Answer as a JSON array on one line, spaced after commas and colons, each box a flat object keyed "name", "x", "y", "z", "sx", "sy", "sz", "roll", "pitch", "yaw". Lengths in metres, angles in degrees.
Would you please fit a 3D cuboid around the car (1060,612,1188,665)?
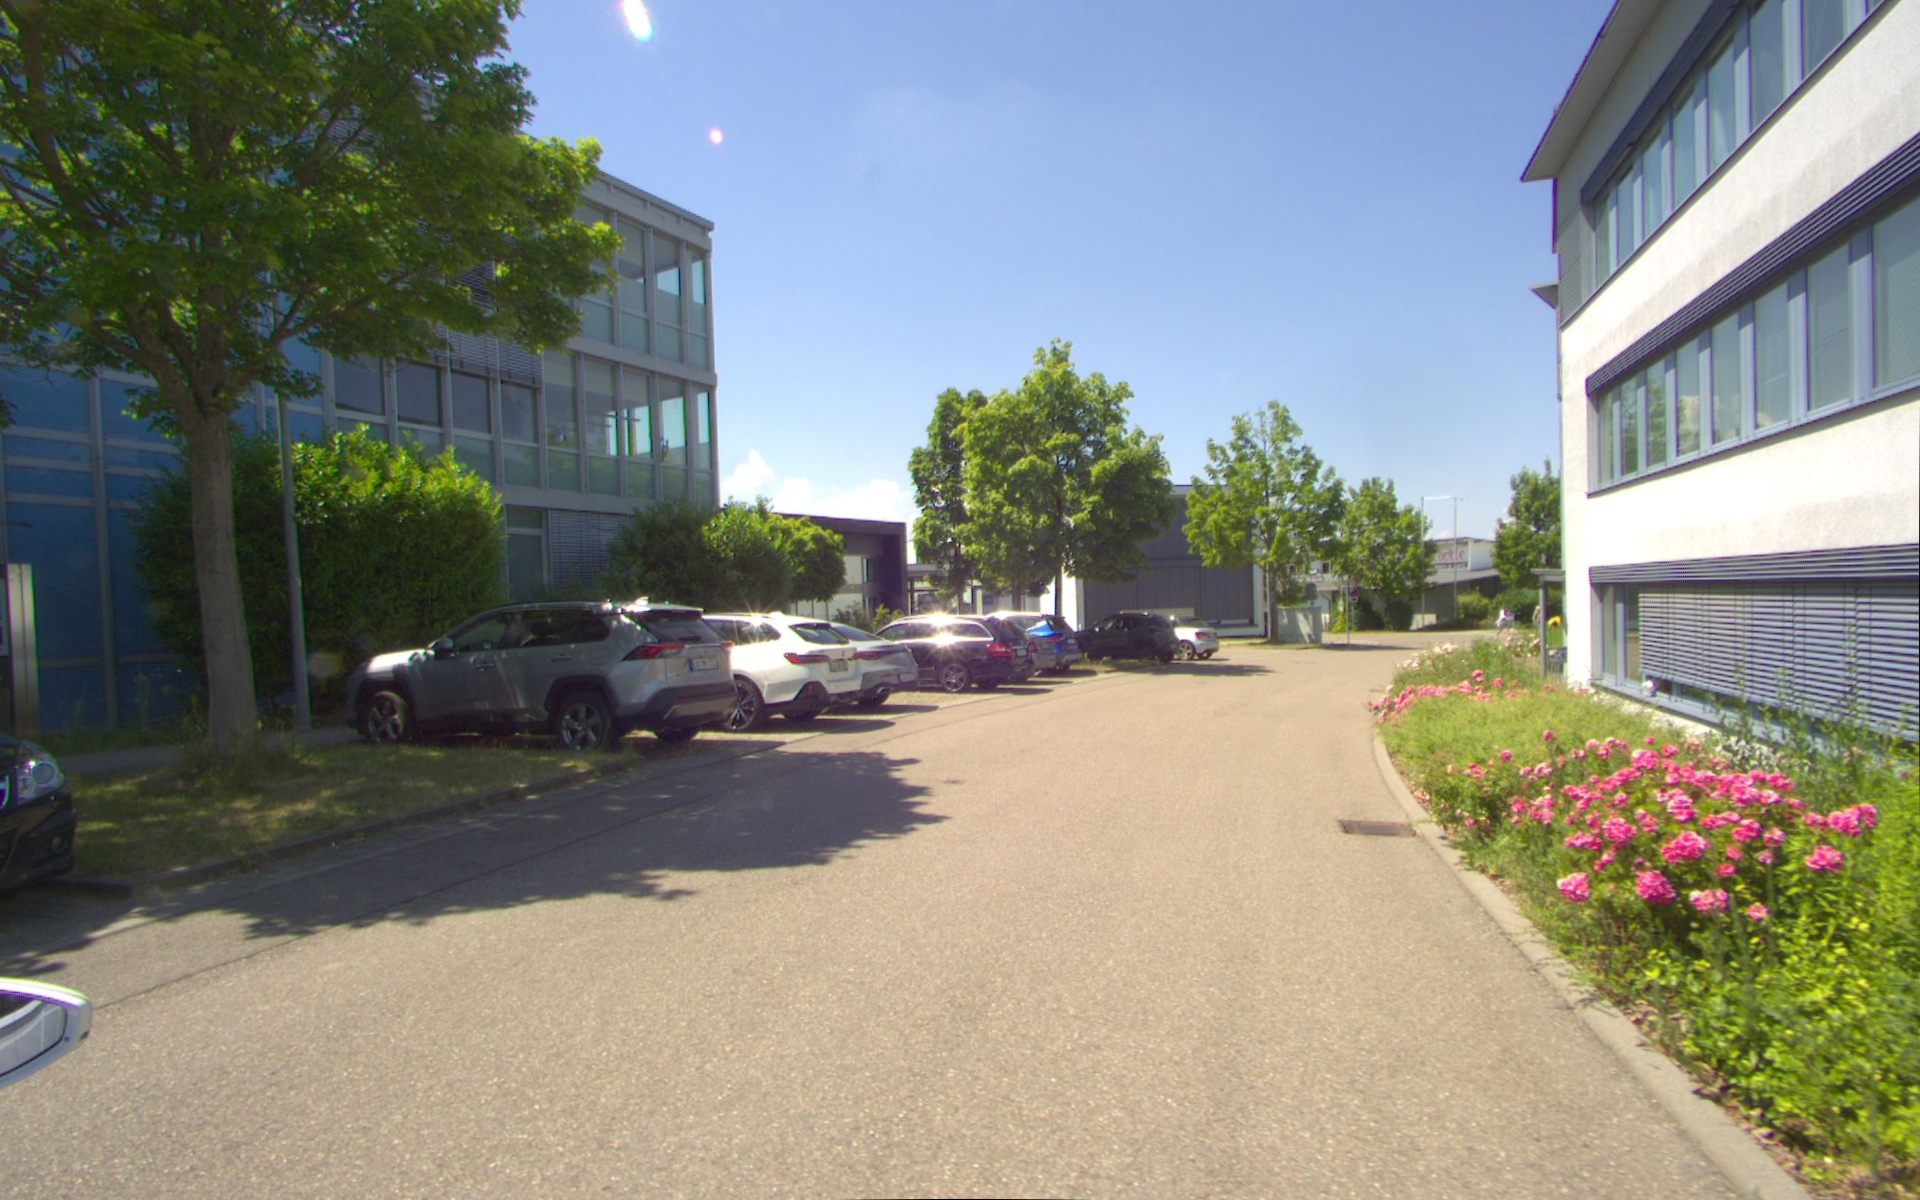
[{"name": "car", "x": 5.015, "y": 1.134, "z": 30.790, "sx": 3.542, "sy": 1.546, "sz": 1.625, "roll": 0, "pitch": 0, "yaw": 36}]

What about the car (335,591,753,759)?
[{"name": "car", "x": -4.724, "y": 0.757, "z": 11.476, "sx": 4.255, "sy": 1.664, "sz": 1.854, "roll": 0, "pitch": 0, "yaw": 18}]

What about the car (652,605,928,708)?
[{"name": "car", "x": -2.724, "y": 0.841, "z": 16.173, "sx": 4.103, "sy": 1.506, "sz": 1.658, "roll": 0, "pitch": 0, "yaw": 18}]

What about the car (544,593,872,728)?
[{"name": "car", "x": -3.433, "y": 0.752, "z": 13.729, "sx": 4.128, "sy": 1.664, "sz": 1.658, "roll": 0, "pitch": 0, "yaw": 18}]

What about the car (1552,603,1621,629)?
[{"name": "car", "x": 37.368, "y": 0.969, "z": 59.809, "sx": 1.562, "sy": 1.461, "sz": 3.208, "roll": -1, "pitch": -1, "yaw": -20}]

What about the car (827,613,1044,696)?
[{"name": "car", "x": -0.508, "y": 1.032, "z": 20.224, "sx": 4.110, "sy": 1.506, "sz": 1.655, "roll": 0, "pitch": 0, "yaw": 26}]

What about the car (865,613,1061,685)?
[{"name": "car", "x": 0.082, "y": 1.051, "z": 22.475, "sx": 4.104, "sy": 1.506, "sz": 1.658, "roll": 0, "pitch": 0, "yaw": 19}]

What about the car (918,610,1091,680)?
[{"name": "car", "x": 1.087, "y": 1.075, "z": 25.385, "sx": 4.117, "sy": 1.626, "sz": 1.652, "roll": 0, "pitch": 0, "yaw": 32}]

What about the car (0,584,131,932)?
[{"name": "car", "x": -6.575, "y": 0.754, "z": 4.810, "sx": 4.482, "sy": 1.569, "sz": 1.761, "roll": -1, "pitch": -1, "yaw": 16}]

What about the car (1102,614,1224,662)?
[{"name": "car", "x": 6.572, "y": 1.202, "z": 32.574, "sx": 3.542, "sy": 1.462, "sz": 1.625, "roll": 0, "pitch": 0, "yaw": 36}]
